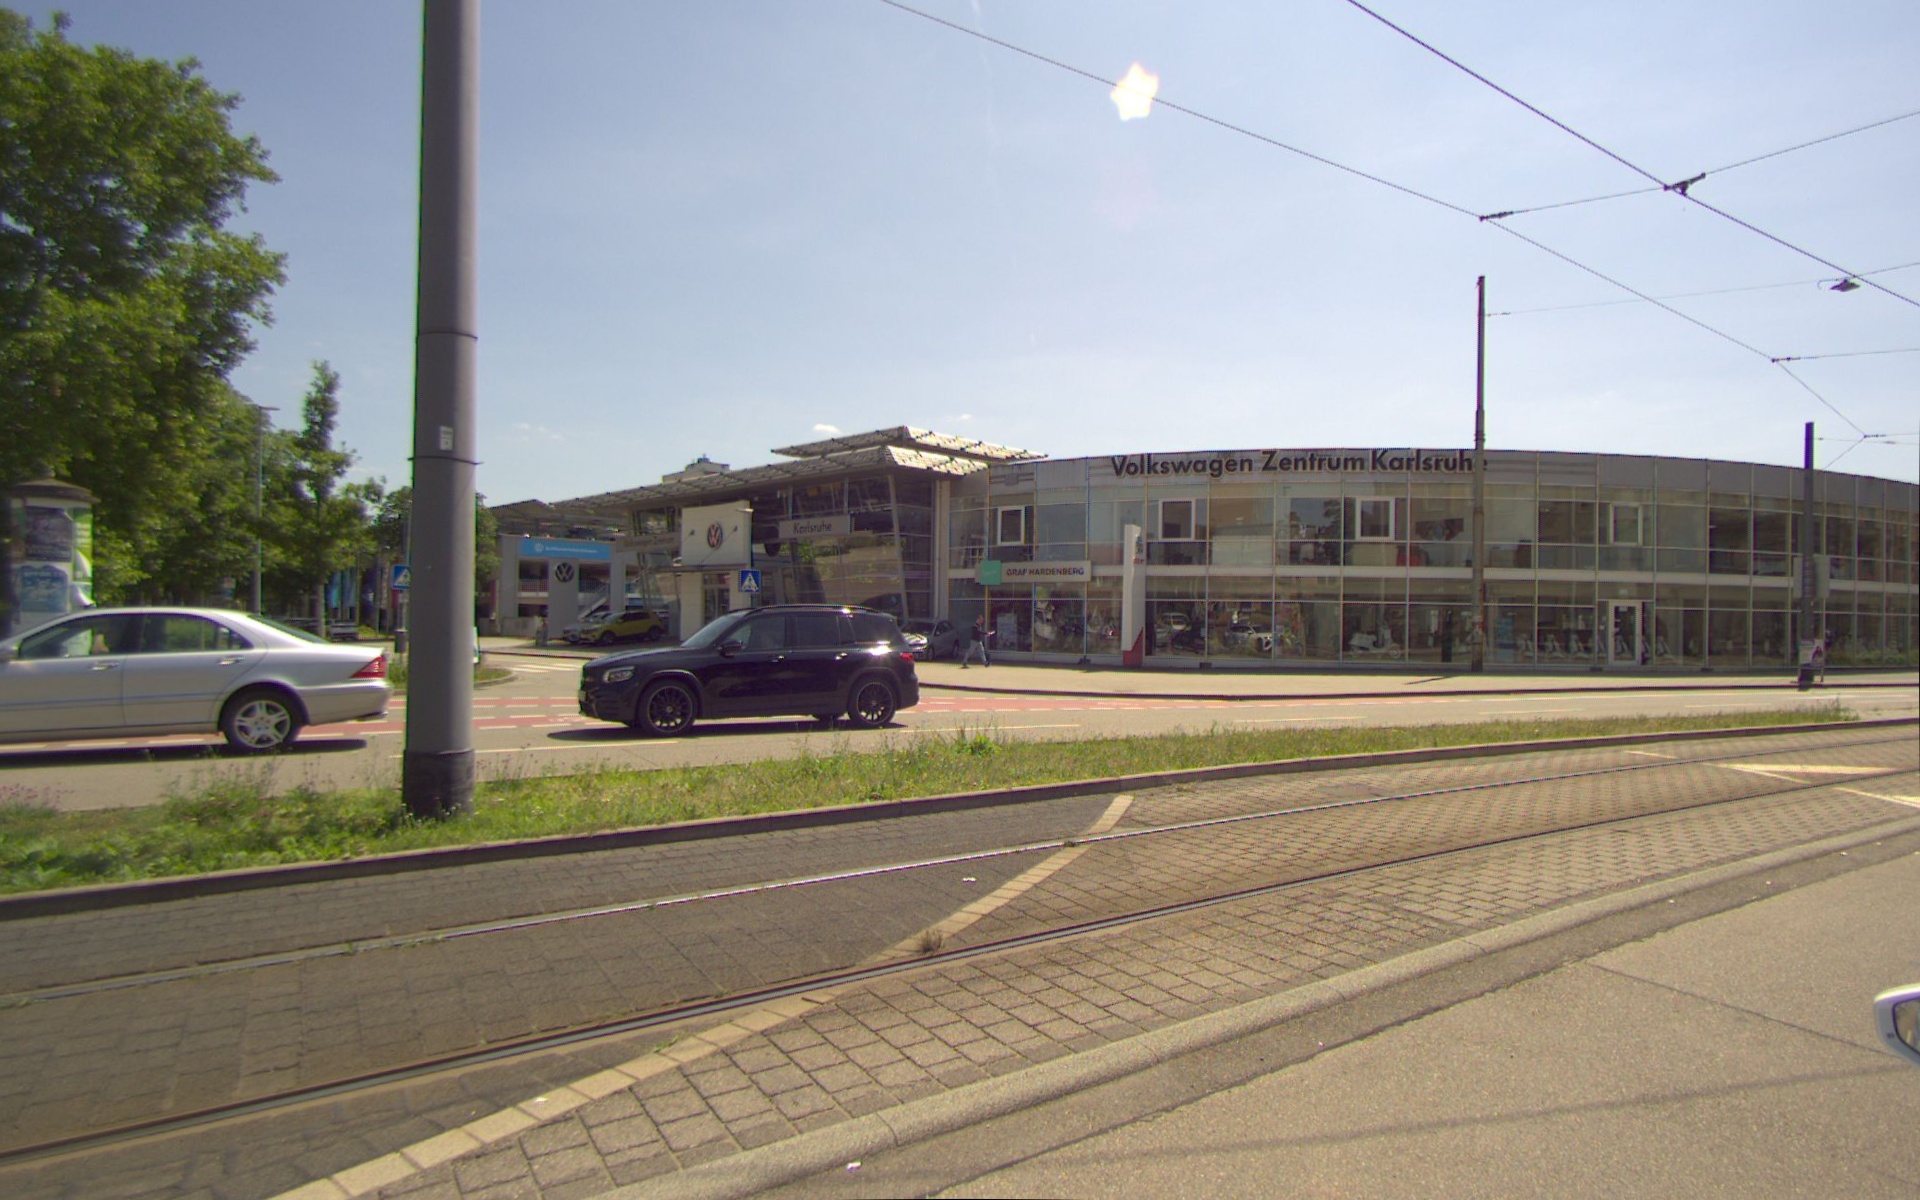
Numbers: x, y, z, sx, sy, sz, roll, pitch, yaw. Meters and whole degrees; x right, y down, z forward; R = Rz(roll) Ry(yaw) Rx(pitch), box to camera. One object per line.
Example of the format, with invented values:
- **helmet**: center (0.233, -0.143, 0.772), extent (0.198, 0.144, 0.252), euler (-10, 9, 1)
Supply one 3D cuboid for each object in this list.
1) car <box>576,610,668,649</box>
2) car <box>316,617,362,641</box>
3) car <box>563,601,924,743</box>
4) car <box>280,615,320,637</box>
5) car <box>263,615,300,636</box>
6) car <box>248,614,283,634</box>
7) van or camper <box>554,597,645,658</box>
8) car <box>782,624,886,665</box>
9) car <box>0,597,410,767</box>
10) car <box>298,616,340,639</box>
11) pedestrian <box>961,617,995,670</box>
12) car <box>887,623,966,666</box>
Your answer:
- **car**: center (-16.845, 1.461, 50.207), extent (1.639, 1.857, 4.075), euler (0, -1, 43)
- **car**: center (-41.414, 1.919, 66.988), extent (1.818, 1.578, 3.948), euler (2, -1, -44)
- **car**: center (-2.872, 0.916, 13.665), extent (4.474, 1.648, 1.813), euler (1, -2, -31)
- **car**: center (-49.536, 1.958, 75.359), extent (1.818, 1.578, 3.948), euler (2, -1, -44)
- **car**: center (-53.532, 1.972, 79.210), extent (1.818, 1.578, 3.948), euler (2, -1, -44)
- **car**: center (-57.935, 1.995, 83.788), extent (1.818, 1.578, 3.948), euler (2, -1, -44)
- **van or camper**: center (-18.735, 1.419, 52.239), extent (1.973, 3.043, 3.975), euler (0, -1, 44)
- **car**: center (-4.677, 1.632, 37.861), extent (1.584, 1.439, 4.178), euler (0, -1, 32)
- **car**: center (-8.700, 0.807, 10.433), extent (5.078, 1.550, 1.982), euler (2, -3, -34)
- **car**: center (-46.043, 1.948, 72.113), extent (1.818, 1.578, 3.948), euler (2, -1, -44)
- **pedestrian**: center (0.586, 1.402, 32.562), extent (0.811, 1.664, 0.724), euler (1, -1, -31)
- **car**: center (-1.188, 1.616, 37.213), extent (1.473, 1.476, 4.055), euler (0, -1, 21)
